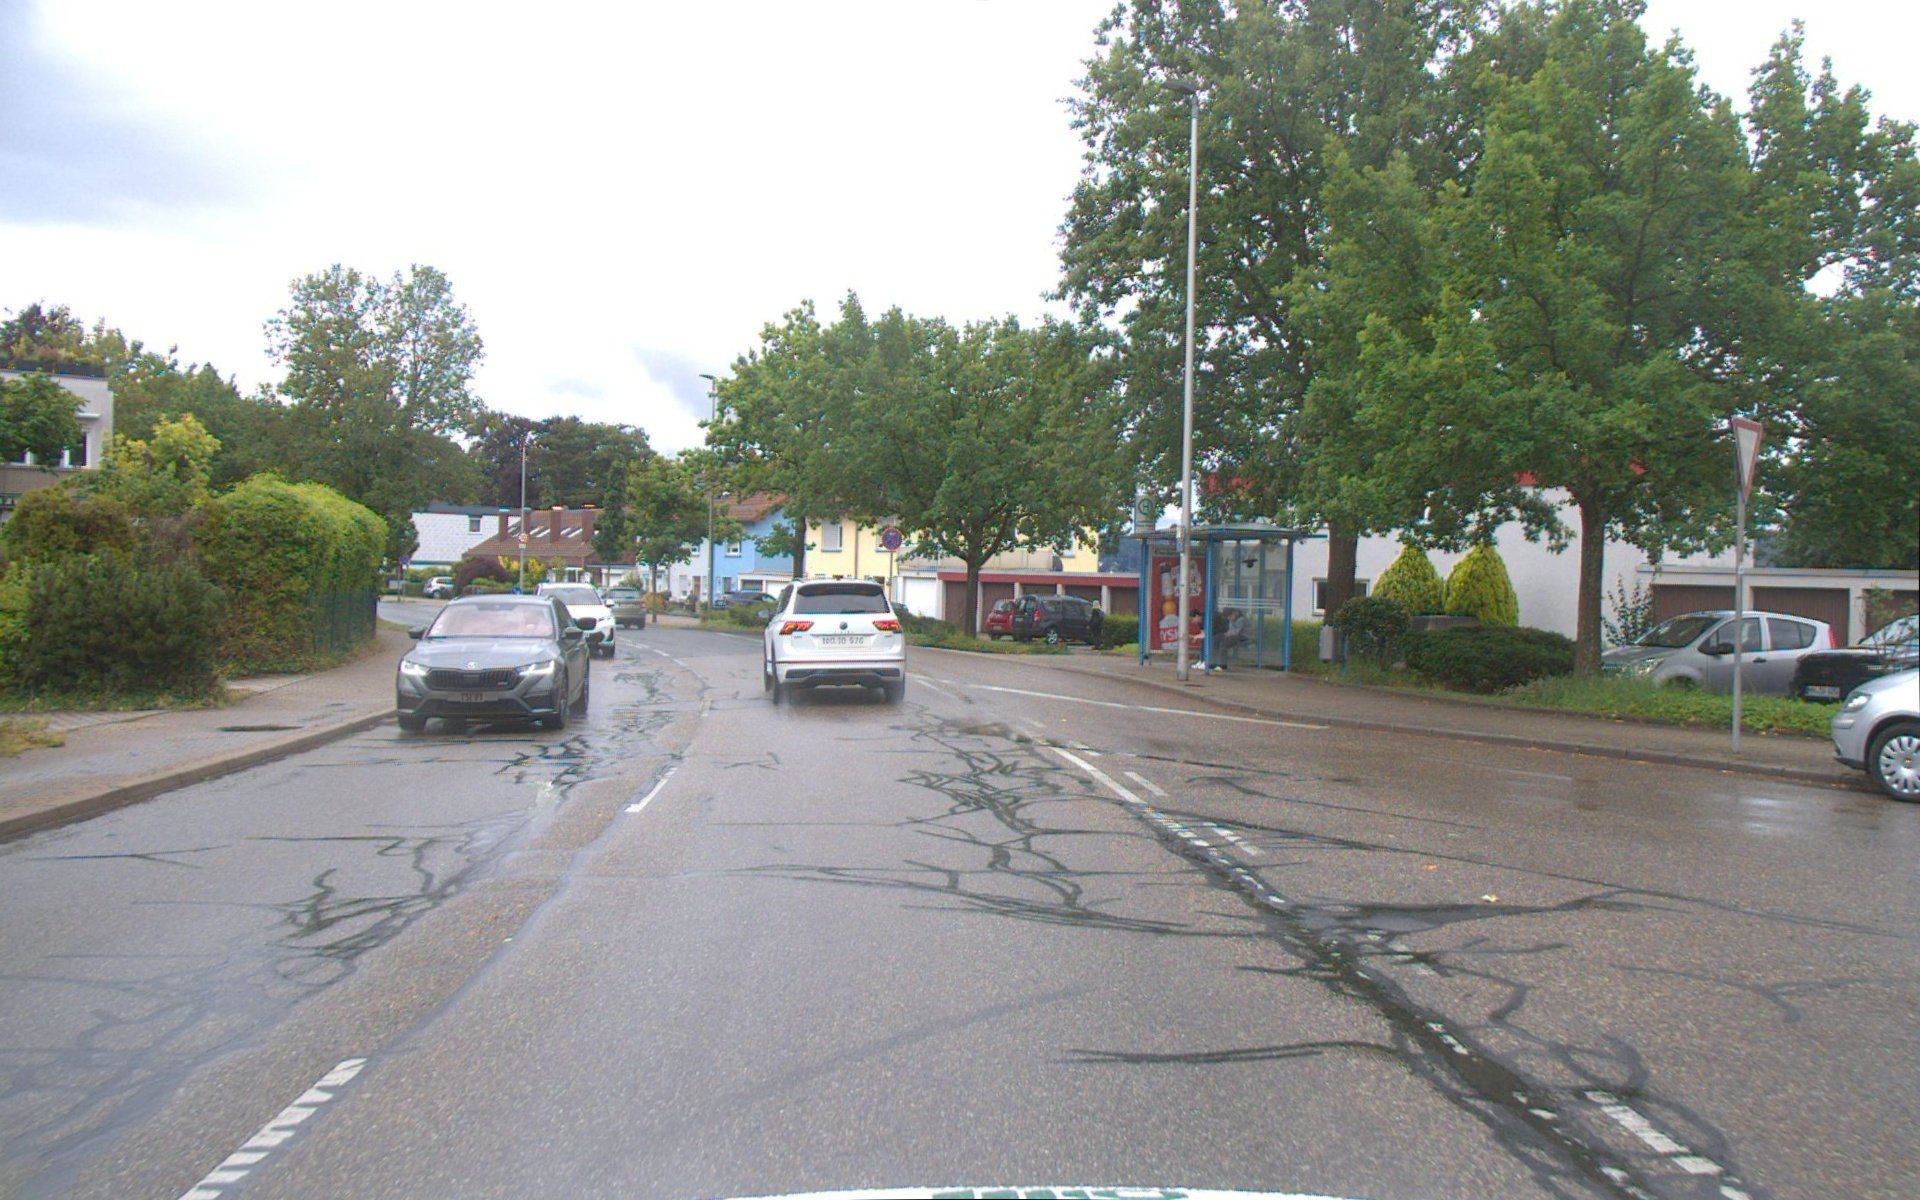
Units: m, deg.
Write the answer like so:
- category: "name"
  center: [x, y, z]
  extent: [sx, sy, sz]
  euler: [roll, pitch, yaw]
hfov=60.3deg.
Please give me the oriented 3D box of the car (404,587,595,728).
- category: "car"
  center: [-5.244, 0.592, 19.281]
  extent: [1.709, 1.439, 4.133]
  euler: [1, 0, -10]

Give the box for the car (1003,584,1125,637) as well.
- category: "car"
  center: [3.599, 0.368, 57.058]
  extent: [3.957, 1.751, 1.899]
  euler: [1, 0, -37]

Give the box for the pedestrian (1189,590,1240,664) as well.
- category: "pedestrian"
  center: [4.415, 0.463, 28.711]
  extent: [0.713, 1.272, 0.550]
  euler: [1, 0, -9]

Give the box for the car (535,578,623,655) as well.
- category: "car"
  center: [-9.083, 0.344, 39.210]
  extent: [1.859, 1.639, 4.846]
  euler: [2, 0, -15]

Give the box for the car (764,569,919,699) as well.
- category: "car"
  center: [-1.772, 0.416, 23.497]
  extent: [1.831, 1.679, 3.991]
  euler: [0, 1, -10]

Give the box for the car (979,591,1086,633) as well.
- category: "car"
  center: [2.628, 0.431, 59.722]
  extent: [3.664, 1.467, 1.685]
  euler: [1, 0, -37]

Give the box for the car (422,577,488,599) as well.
- category: "car"
  center: [-34.702, -0.802, 113.654]
  extent: [3.957, 1.467, 1.823]
  euler: [0, 1, -37]

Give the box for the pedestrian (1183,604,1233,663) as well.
- category: "pedestrian"
  center: [4.415, 0.599, 29.487]
  extent: [0.735, 1.029, 0.550]
  euler: [1, 0, -9]

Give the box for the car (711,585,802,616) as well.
- category: "car"
  center: [-9.401, 0.026, 76.564]
  extent: [3.960, 1.411, 1.651]
  euler: [1, 0, -39]

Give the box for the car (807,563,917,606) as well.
- category: "car"
  center: [-4.073, -0.650, 68.938]
  extent: [4.144, 1.701, 1.968]
  euler: [1, 0, -35]

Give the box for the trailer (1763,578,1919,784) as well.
- category: "trailer"
  center: [8.697, 0.639, 12.475]
  extent: [1.976, 1.570, 4.373]
  euler: [0, 1, -34]

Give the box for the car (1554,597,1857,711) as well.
- category: "car"
  center: [10.545, 0.755, 23.508]
  extent: [3.581, 1.512, 1.755]
  euler: [1, 0, -12]

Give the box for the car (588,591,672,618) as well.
- category: "car"
  center: [-17.964, 0.264, 90.072]
  extent: [1.651, 1.282, 4.286]
  euler: [2, 0, 44]

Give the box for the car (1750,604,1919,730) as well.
- category: "car"
  center: [12.396, 0.840, 21.556]
  extent: [3.589, 1.512, 1.751]
  euler: [1, 0, -18]

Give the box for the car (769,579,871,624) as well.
- category: "car"
  center: [-5.983, 0.087, 71.075]
  extent: [4.158, 1.701, 1.695]
  euler: [4, -1, -43]

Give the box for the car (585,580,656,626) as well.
- category: "car"
  center: [-12.209, 0.080, 59.256]
  extent: [1.745, 1.578, 3.972]
  euler: [1, 0, -23]

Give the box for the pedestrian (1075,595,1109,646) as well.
- category: "pedestrian"
  center: [4.184, 0.652, 52.309]
  extent: [0.660, 1.585, 0.830]
  euler: [1, 0, -40]
